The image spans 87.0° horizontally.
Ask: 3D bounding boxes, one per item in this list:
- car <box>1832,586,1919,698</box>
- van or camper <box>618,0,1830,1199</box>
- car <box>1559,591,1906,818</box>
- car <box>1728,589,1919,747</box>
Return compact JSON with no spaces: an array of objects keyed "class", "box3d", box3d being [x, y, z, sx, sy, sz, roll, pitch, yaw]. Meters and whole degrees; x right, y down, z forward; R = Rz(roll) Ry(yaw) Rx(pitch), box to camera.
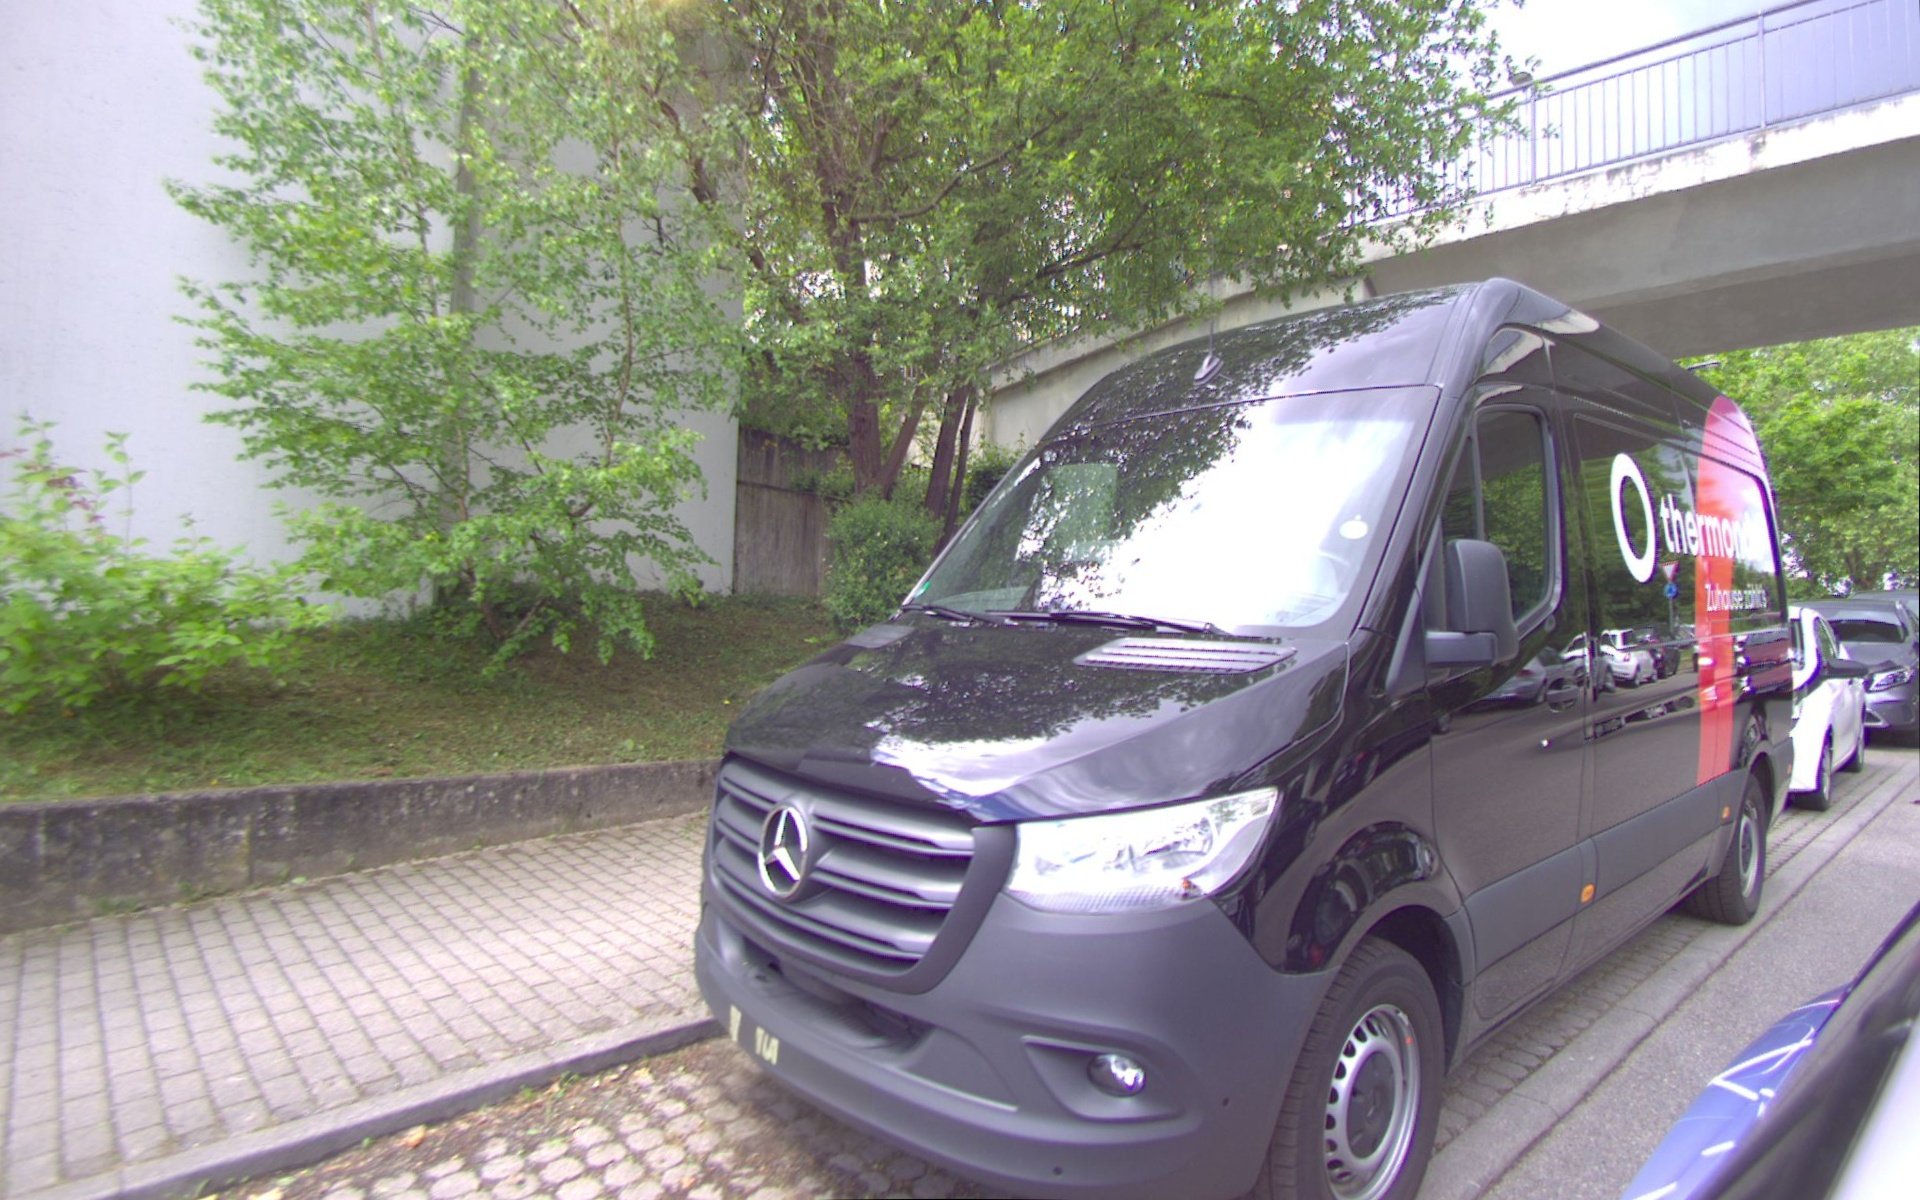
[{"class":"car","box3d":[14.701,0.564,15.439,3.657,1.562,1.603,-1,0,-41]},{"class":"van or camper","box3d":[1.741,0.010,4.171,5.658,2.527,1.997,-1,0,-41]},{"class":"car","box3d":[6.520,0.667,8.409,3.657,1.468,1.585,-1,0,-41]},{"class":"car","box3d":[10.107,0.633,11.398,3.657,1.506,1.603,-1,0,-41]}]
